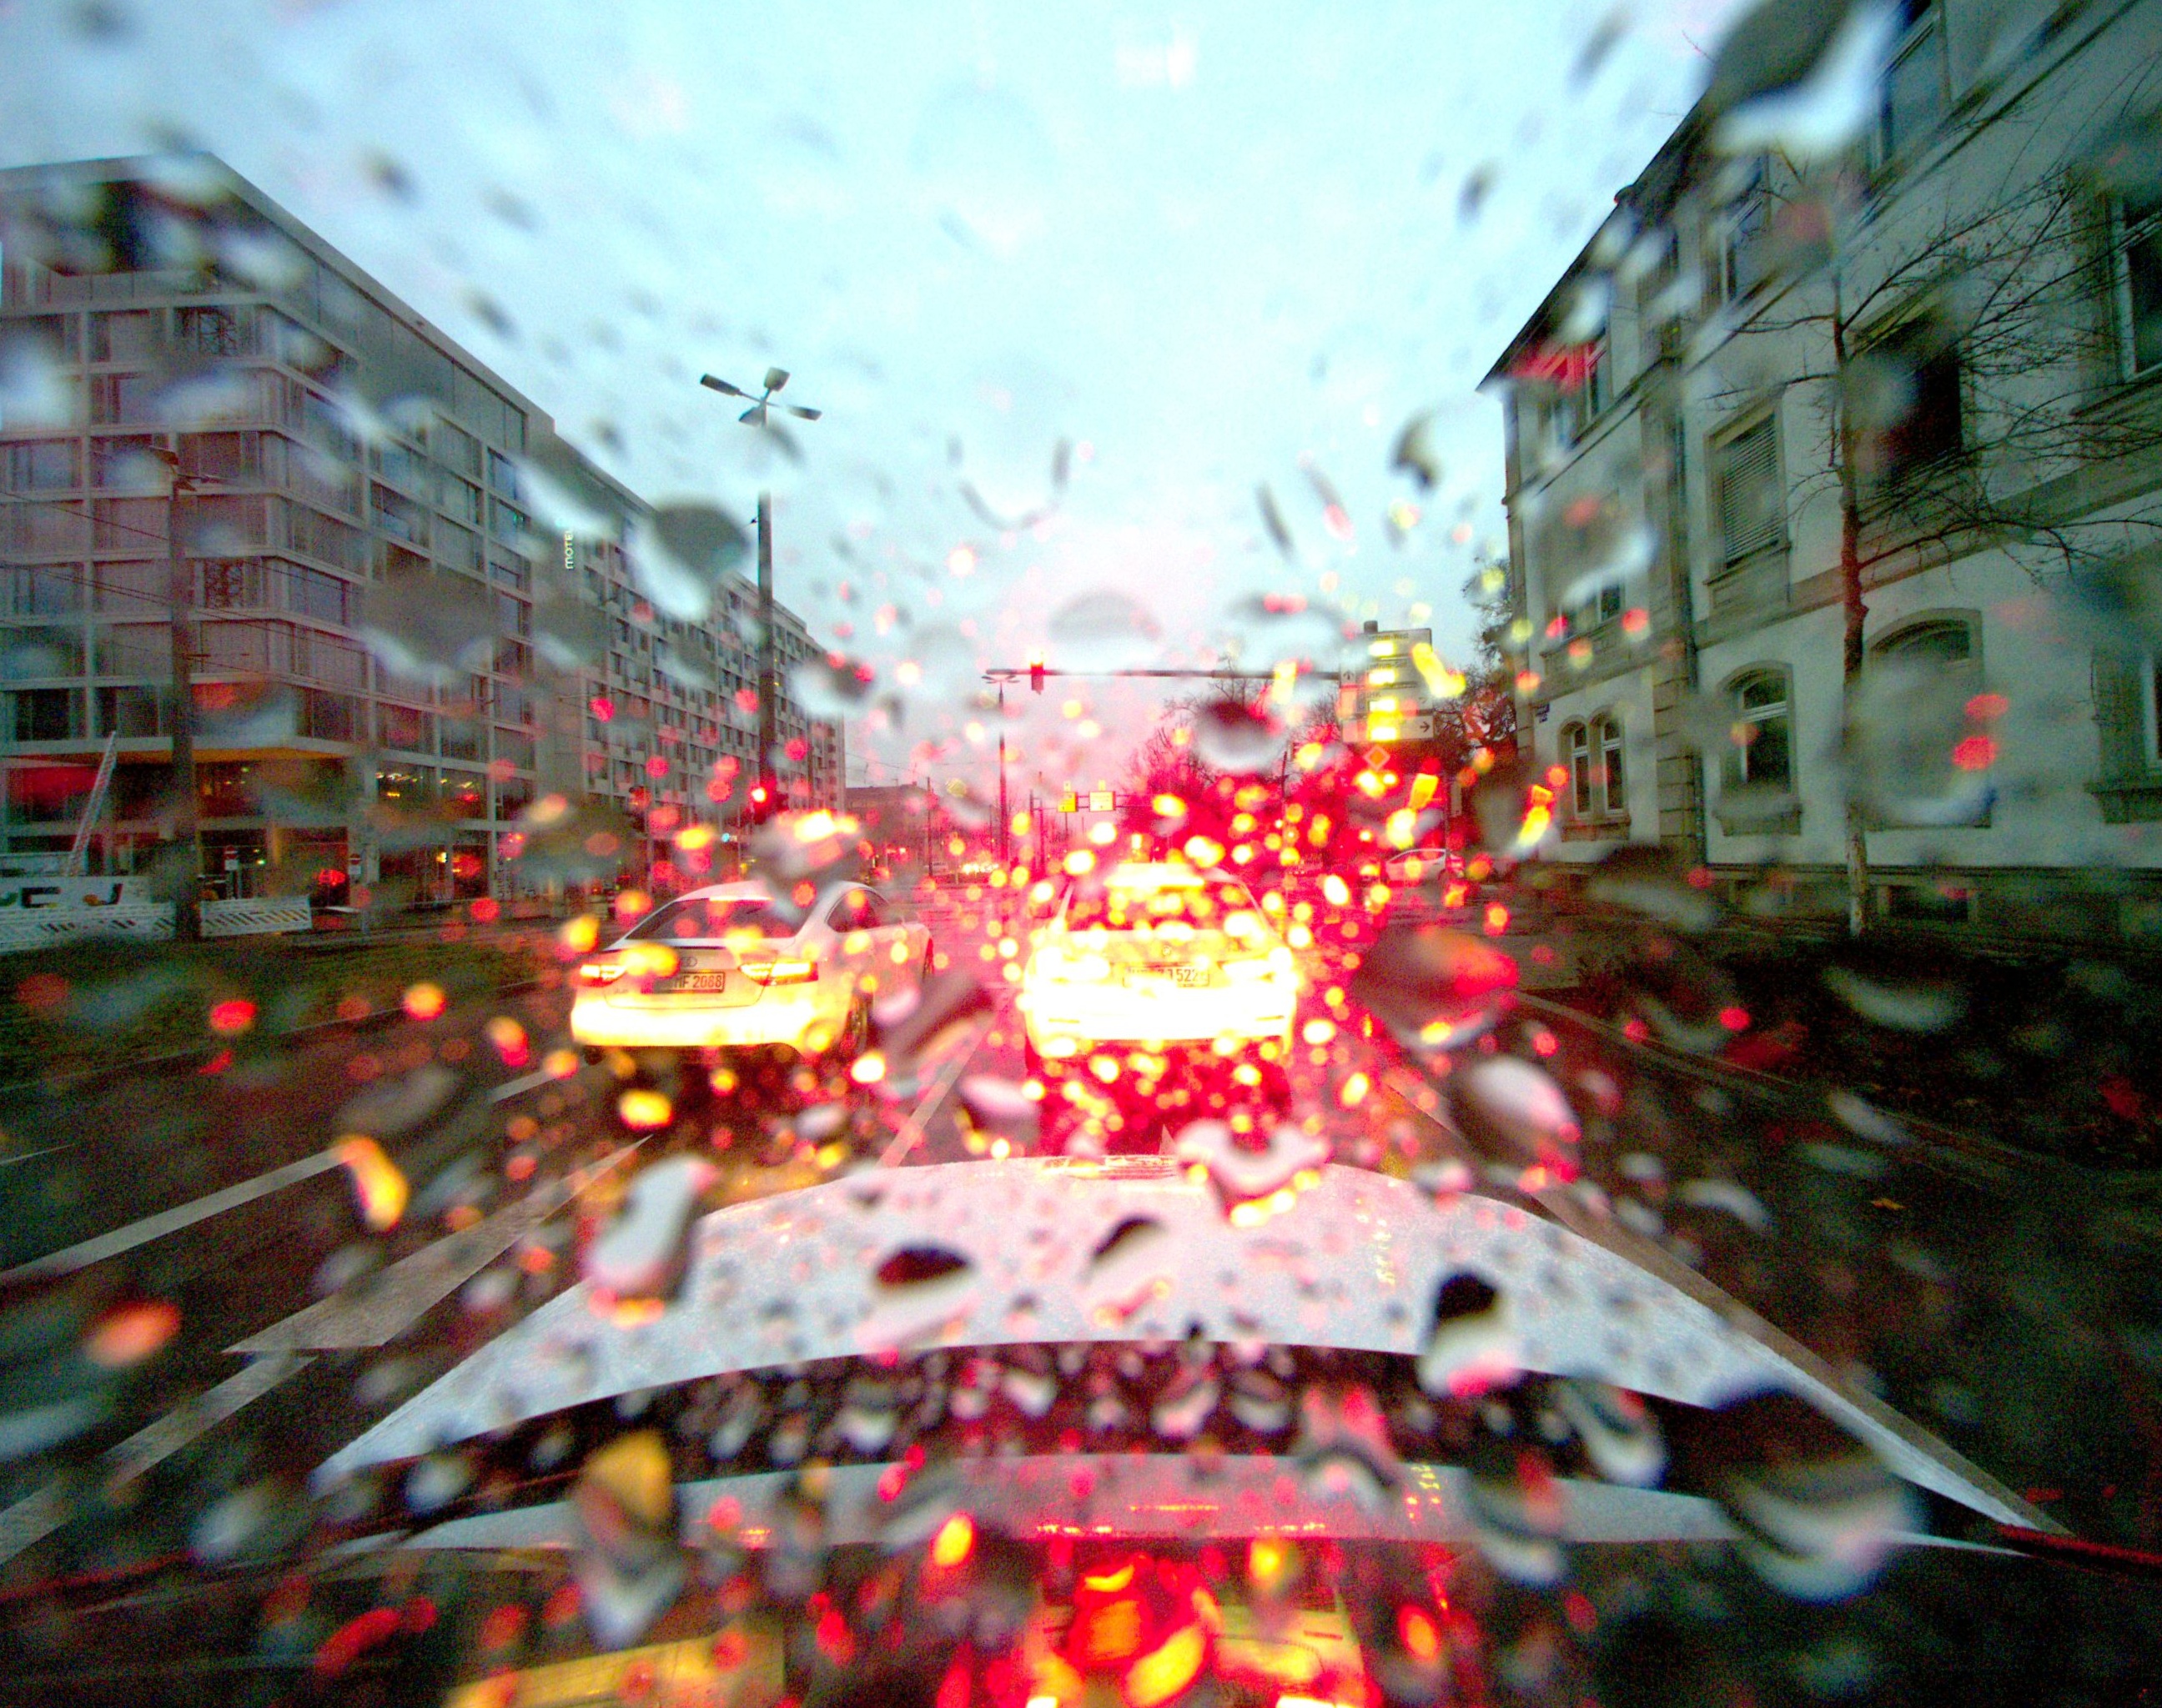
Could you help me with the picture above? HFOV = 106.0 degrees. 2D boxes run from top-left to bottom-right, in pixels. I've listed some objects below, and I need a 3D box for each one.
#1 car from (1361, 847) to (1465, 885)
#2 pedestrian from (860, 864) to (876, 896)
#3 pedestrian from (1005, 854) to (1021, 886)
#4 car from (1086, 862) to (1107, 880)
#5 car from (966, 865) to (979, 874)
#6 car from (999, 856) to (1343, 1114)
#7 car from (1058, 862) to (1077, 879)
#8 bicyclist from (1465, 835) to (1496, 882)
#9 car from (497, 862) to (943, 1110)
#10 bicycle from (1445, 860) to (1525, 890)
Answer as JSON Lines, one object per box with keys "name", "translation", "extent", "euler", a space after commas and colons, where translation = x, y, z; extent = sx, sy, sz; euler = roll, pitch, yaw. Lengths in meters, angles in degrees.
{"name": "car", "translation": [13.935, 0.507, 34.241], "extent": [3.920, 1.554, 1.759], "euler": [0, -1, 24]}
{"name": "pedestrian", "translation": [-11.719, 1.417, 44.771], "extent": [0.791, 1.712, 0.809], "euler": [0, -1, -13]}
{"name": "pedestrian", "translation": [-3.915, 0.917, 46.929], "extent": [0.902, 1.856, 0.810], "euler": [0, -1, -9]}
{"name": "car", "translation": [1.429, 1.513, 74.343], "extent": [1.836, 1.609, 3.945], "euler": [0, -1, 1]}
{"name": "car", "translation": [-18.397, 2.652, 138.040], "extent": [1.669, 1.508, 3.697], "euler": [0, -1, 1]}
{"name": "car", "translation": [0.527, 0.766, 6.926], "extent": [1.987, 1.456, 4.367], "euler": [-1, 0, 0]}
{"name": "car", "translation": [-1.354, 1.668, 82.503], "extent": [1.837, 1.609, 3.943], "euler": [0, -1, 0]}
{"name": "bicyclist", "translation": [15.162, 0.166, 30.947], "extent": [0.964, 1.759, 0.817], "euler": [0, -1, 21]}
{"name": "car", "translation": [-2.595, 0.834, 7.219], "extent": [1.987, 1.456, 4.367], "euler": [-1, 0, 0]}
{"name": "bicycle", "translation": [15.266, 0.788, 30.886], "extent": [2.644, 1.089, 0.819], "euler": [0, -1, 21]}
